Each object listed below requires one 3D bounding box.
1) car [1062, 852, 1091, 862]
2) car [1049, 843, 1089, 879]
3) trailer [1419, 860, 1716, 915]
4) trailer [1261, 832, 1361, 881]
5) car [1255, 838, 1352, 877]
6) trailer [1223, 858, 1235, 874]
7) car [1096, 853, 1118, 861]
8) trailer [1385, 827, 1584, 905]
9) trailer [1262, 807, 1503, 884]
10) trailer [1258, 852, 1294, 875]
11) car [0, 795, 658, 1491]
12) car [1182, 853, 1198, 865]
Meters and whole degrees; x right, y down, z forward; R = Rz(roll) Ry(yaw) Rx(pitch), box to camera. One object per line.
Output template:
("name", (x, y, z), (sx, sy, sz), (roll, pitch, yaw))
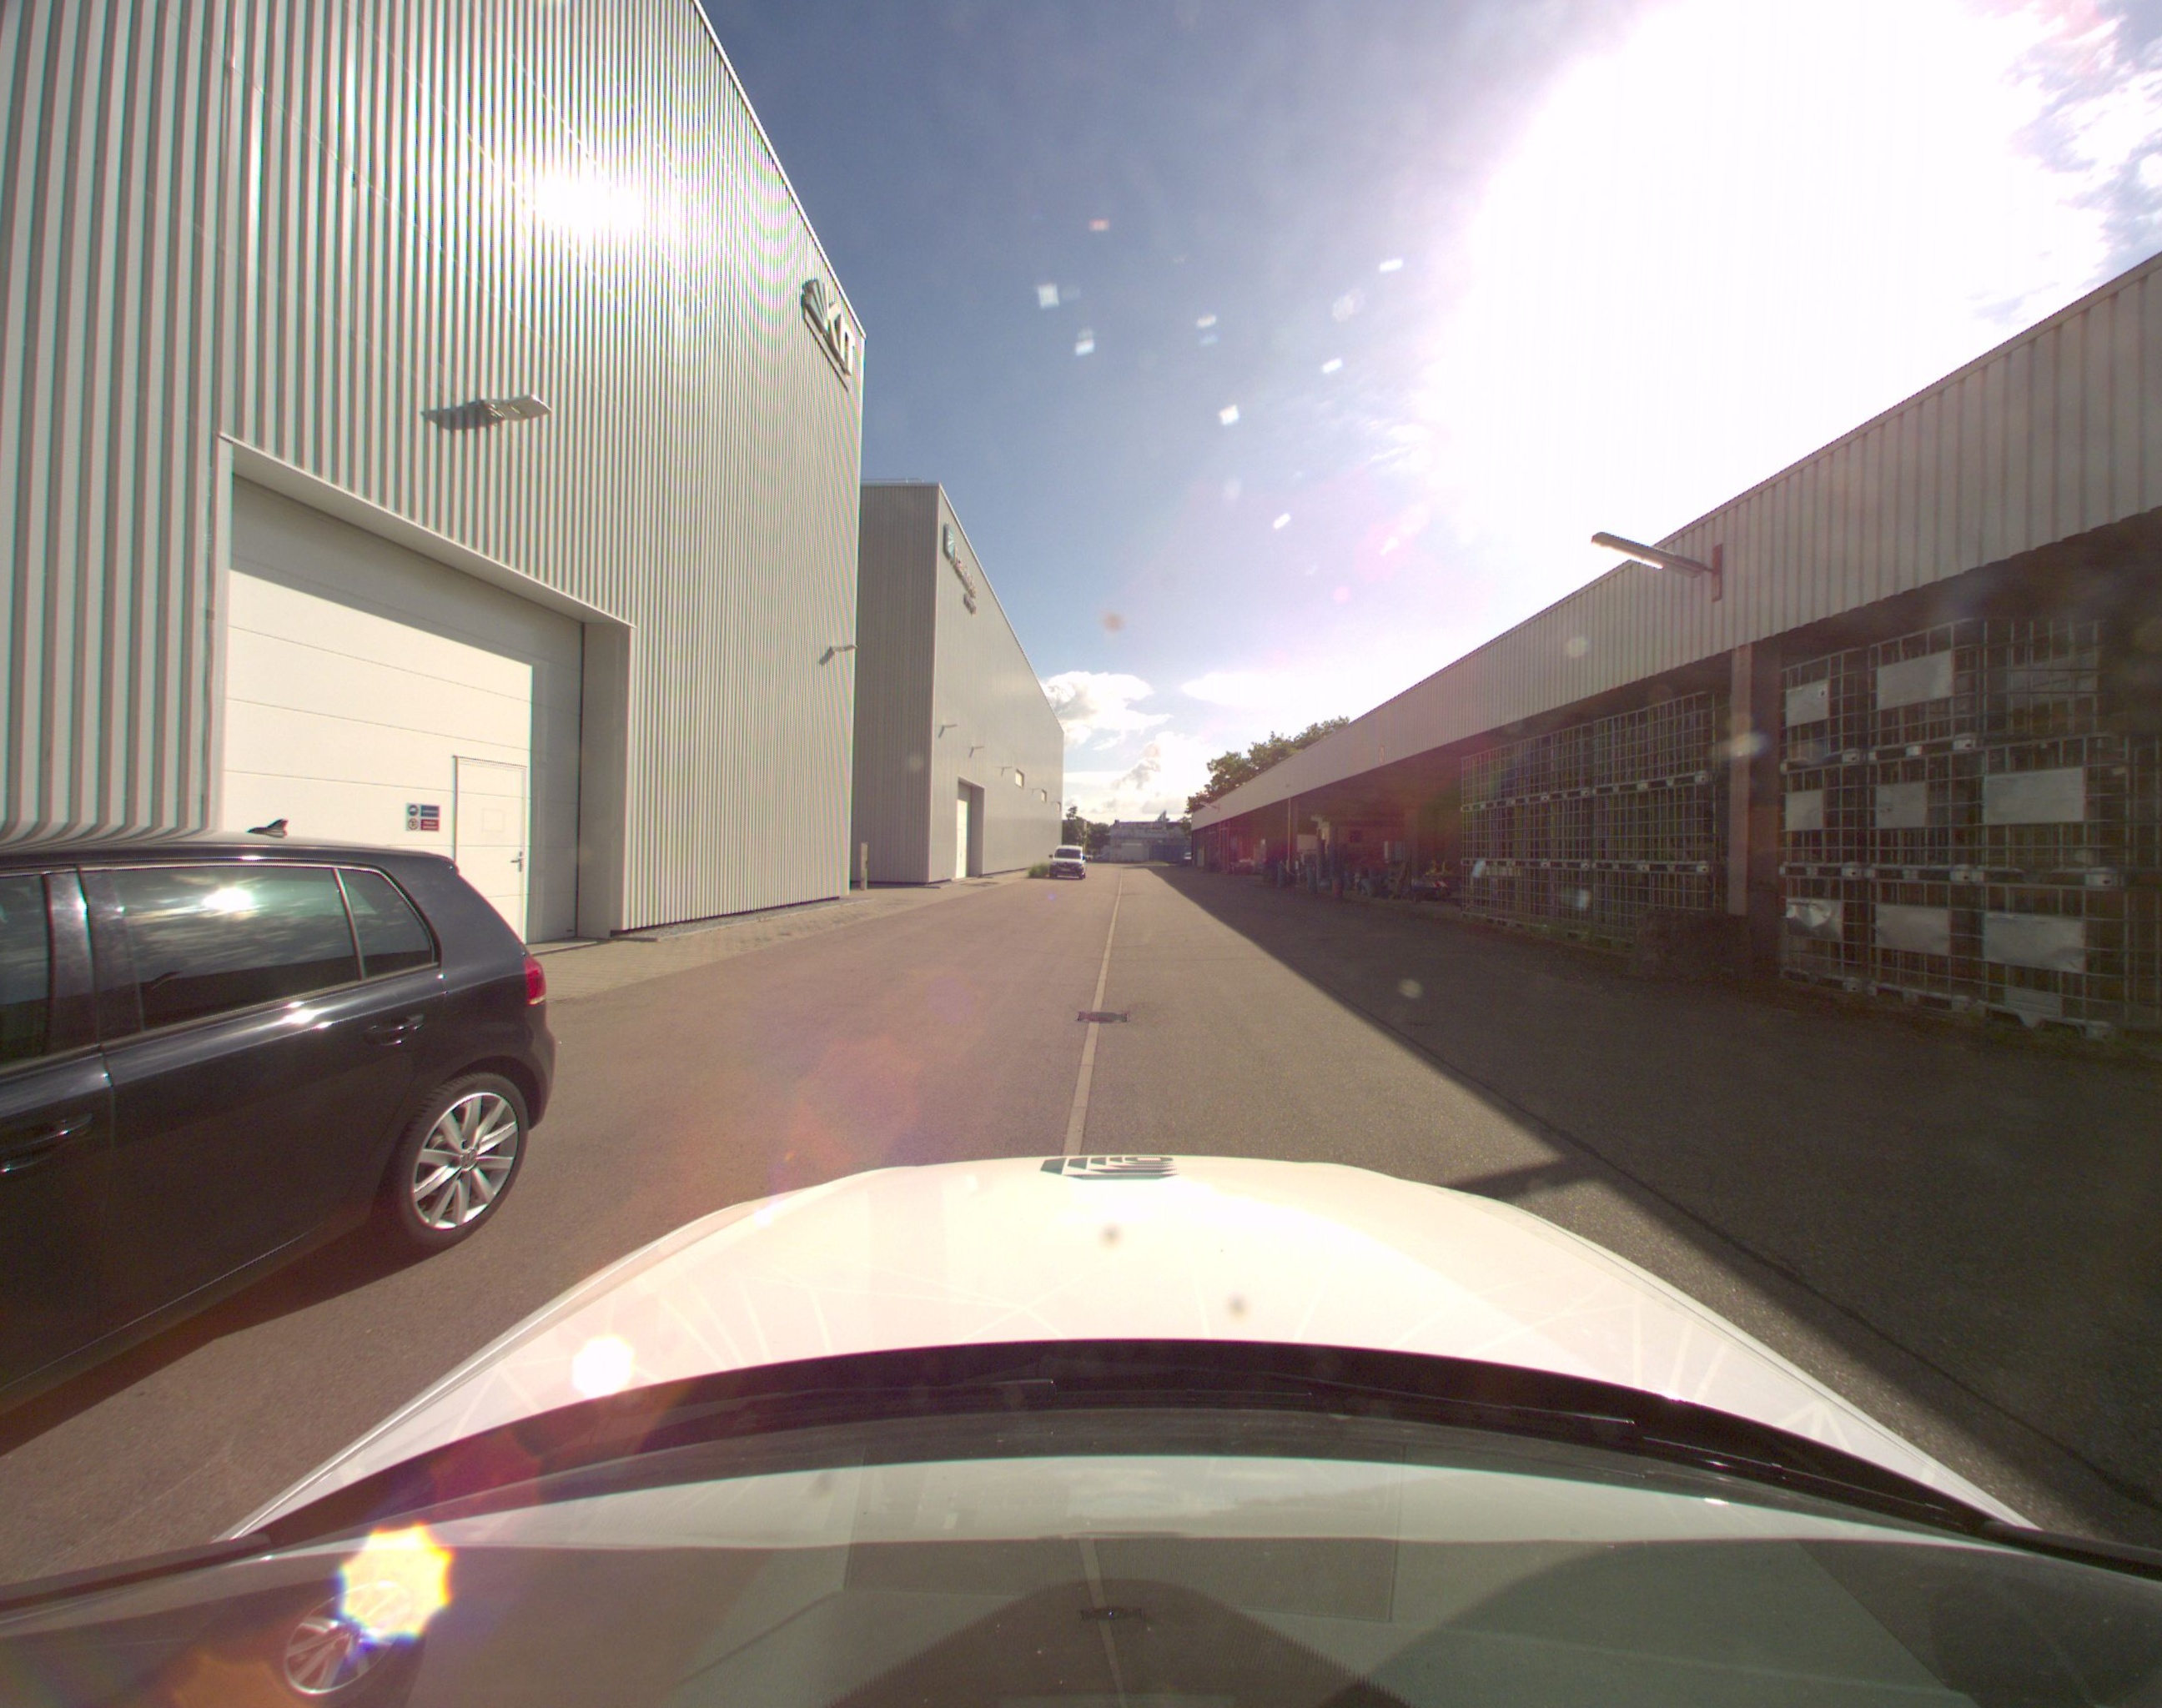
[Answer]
("car", (-0.711, 0.437, 126.819), (4.430, 1.531, 1.825), (0, -1, 2))
("car", (-0.605, 0.395, 44.731), (1.776, 1.816, 4.605), (2, 0, 3))
("trailer", (11.128, 0.743, 18.942), (5.707, 1.185, 1.975), (0, -1, 1))
("trailer", (11.404, 0.136, 40.636), (4.496, 2.342, 2.049), (0, -1, 3))
("car", (13.431, 0.194, 49.361), (5.311, 2.281, 2.154), (0, -1, 2))
("trailer", (10.037, 0.803, 55.230), (0.550, 1.118, 1.547), (0, -1, 1))
("car", (4.965, 0.631, 154.522), (4.286, 1.457, 1.825), (0, -1, 2))
("trailer", (10.896, 0.322, 22.298), (4.403, 1.990, 2.165), (0, -1, 4))
("trailer", (13.832, -0.376, 38.037), (10.225, 3.343, 2.803), (0, 0, 3))
("trailer", (12.450, 0.586, 52.017), (2.027, 1.466, 1.741), (0, 0, 7))
("car", (-3.112, 0.572, 1.861), (1.749, 1.445, 4.319), (4, 1, 3))
("car", (15.227, 0.686, 113.679), (1.970, 1.602, 4.383), (0, 1, 4))
